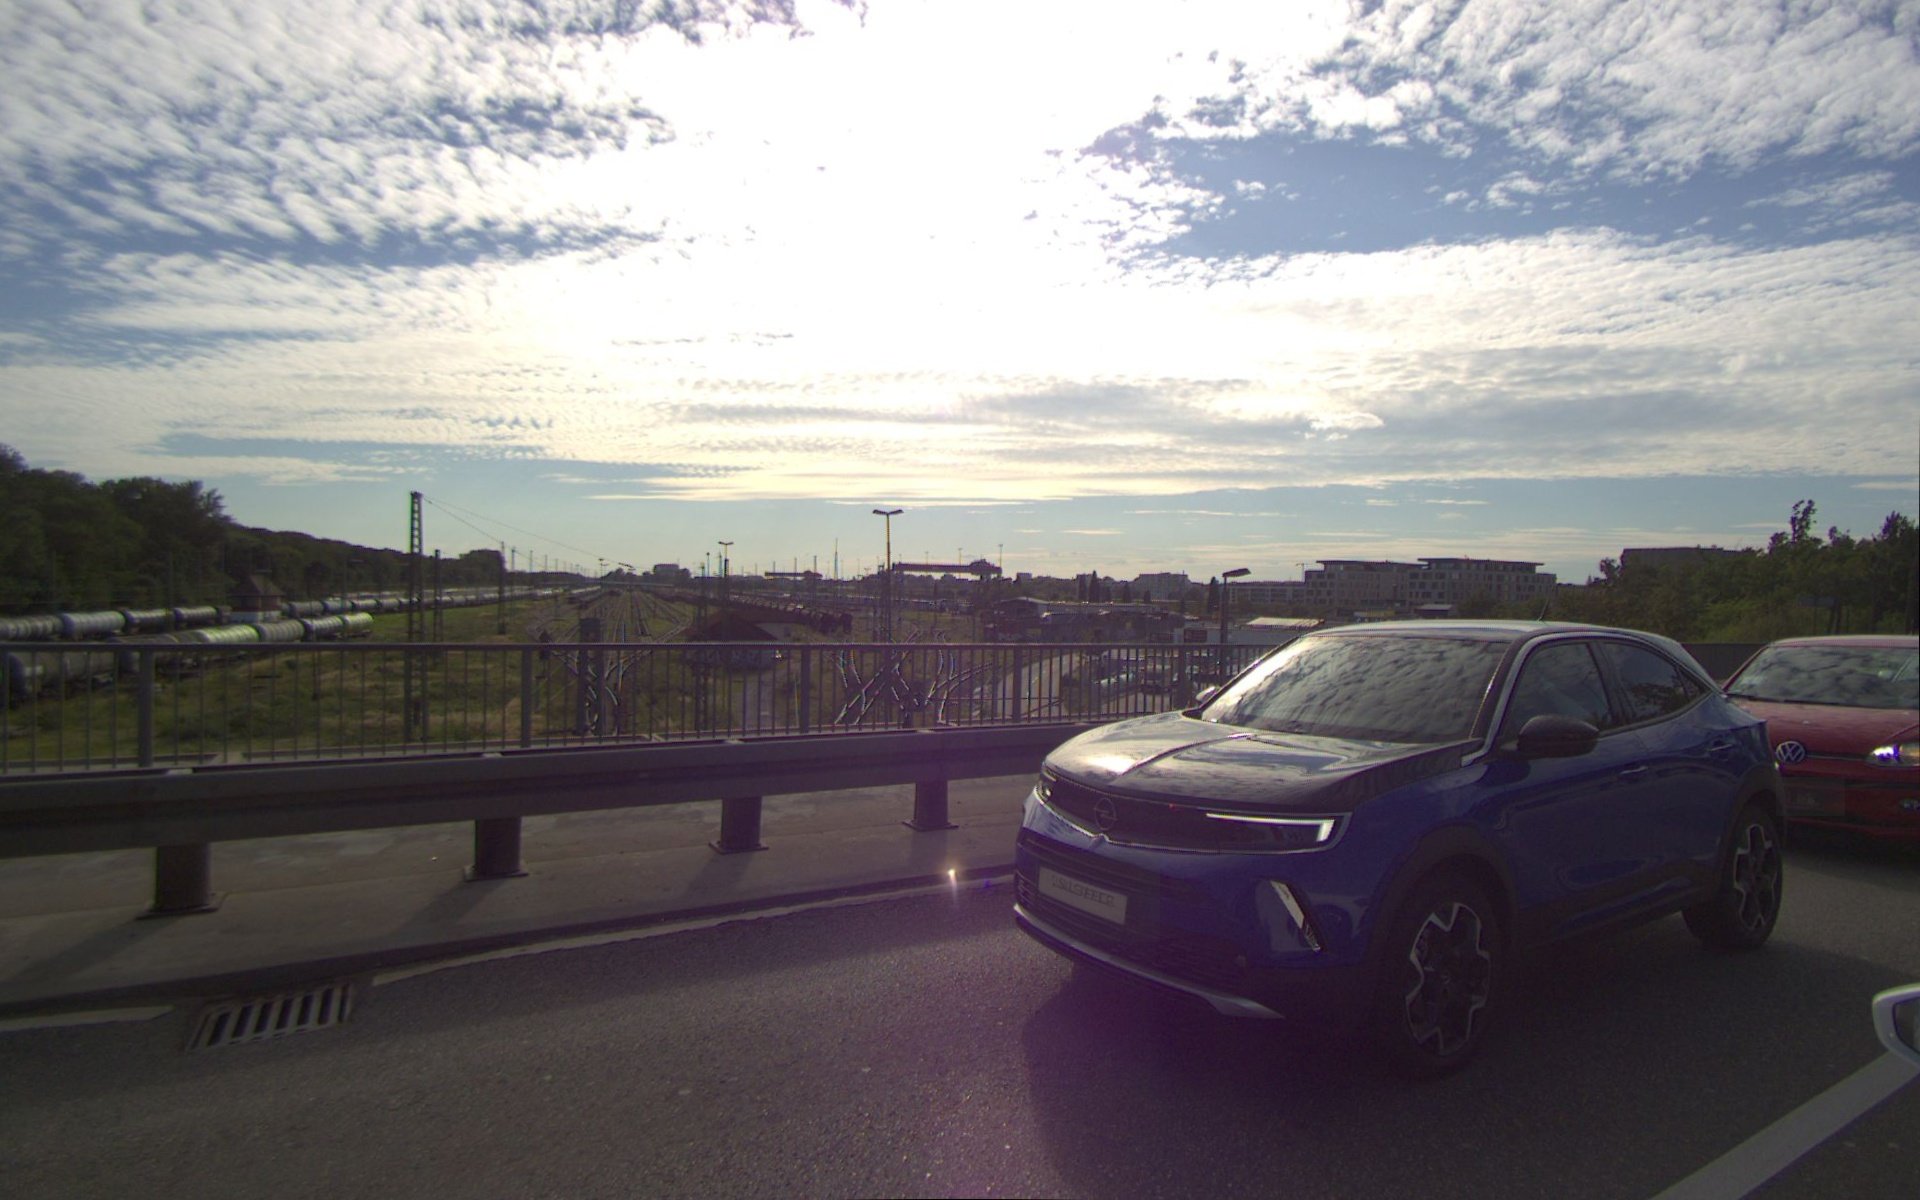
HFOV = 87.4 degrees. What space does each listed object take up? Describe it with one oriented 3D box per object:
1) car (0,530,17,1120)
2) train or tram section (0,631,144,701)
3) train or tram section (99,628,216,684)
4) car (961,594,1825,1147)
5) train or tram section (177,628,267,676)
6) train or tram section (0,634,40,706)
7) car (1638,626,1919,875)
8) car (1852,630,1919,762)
[{"bbox_3d":[-4.283,0.578,0.954,4.531,1.671,1.918,1,-2,-28],"label":"car"},{"bbox_3d":[-70.546,4.980,79.833,3.049,4.774,16.680,1,-1,-19],"label":"train or tram section"},{"bbox_3d":[-75.866,5.114,95.597,3.049,4.774,16.680,1,-1,-19],"label":"train or tram section"},{"bbox_3d":[2.142,0.815,4.652,3.964,1.540,1.789,1,-2,-33],"label":"car"},{"bbox_3d":[-81.139,5.590,110.947,3.049,4.774,16.680,1,-1,-19],"label":"train or tram section"},{"bbox_3d":[-65.222,4.669,64.025,3.049,4.774,16.680,1,-1,-19],"label":"train or tram section"},{"bbox_3d":[6.868,0.956,7.646,3.698,1.484,1.589,1,-2,-34],"label":"car"},{"bbox_3d":[12.744,1.123,12.457,4.225,1.474,1.719,1,-1,-37],"label":"car"}]
